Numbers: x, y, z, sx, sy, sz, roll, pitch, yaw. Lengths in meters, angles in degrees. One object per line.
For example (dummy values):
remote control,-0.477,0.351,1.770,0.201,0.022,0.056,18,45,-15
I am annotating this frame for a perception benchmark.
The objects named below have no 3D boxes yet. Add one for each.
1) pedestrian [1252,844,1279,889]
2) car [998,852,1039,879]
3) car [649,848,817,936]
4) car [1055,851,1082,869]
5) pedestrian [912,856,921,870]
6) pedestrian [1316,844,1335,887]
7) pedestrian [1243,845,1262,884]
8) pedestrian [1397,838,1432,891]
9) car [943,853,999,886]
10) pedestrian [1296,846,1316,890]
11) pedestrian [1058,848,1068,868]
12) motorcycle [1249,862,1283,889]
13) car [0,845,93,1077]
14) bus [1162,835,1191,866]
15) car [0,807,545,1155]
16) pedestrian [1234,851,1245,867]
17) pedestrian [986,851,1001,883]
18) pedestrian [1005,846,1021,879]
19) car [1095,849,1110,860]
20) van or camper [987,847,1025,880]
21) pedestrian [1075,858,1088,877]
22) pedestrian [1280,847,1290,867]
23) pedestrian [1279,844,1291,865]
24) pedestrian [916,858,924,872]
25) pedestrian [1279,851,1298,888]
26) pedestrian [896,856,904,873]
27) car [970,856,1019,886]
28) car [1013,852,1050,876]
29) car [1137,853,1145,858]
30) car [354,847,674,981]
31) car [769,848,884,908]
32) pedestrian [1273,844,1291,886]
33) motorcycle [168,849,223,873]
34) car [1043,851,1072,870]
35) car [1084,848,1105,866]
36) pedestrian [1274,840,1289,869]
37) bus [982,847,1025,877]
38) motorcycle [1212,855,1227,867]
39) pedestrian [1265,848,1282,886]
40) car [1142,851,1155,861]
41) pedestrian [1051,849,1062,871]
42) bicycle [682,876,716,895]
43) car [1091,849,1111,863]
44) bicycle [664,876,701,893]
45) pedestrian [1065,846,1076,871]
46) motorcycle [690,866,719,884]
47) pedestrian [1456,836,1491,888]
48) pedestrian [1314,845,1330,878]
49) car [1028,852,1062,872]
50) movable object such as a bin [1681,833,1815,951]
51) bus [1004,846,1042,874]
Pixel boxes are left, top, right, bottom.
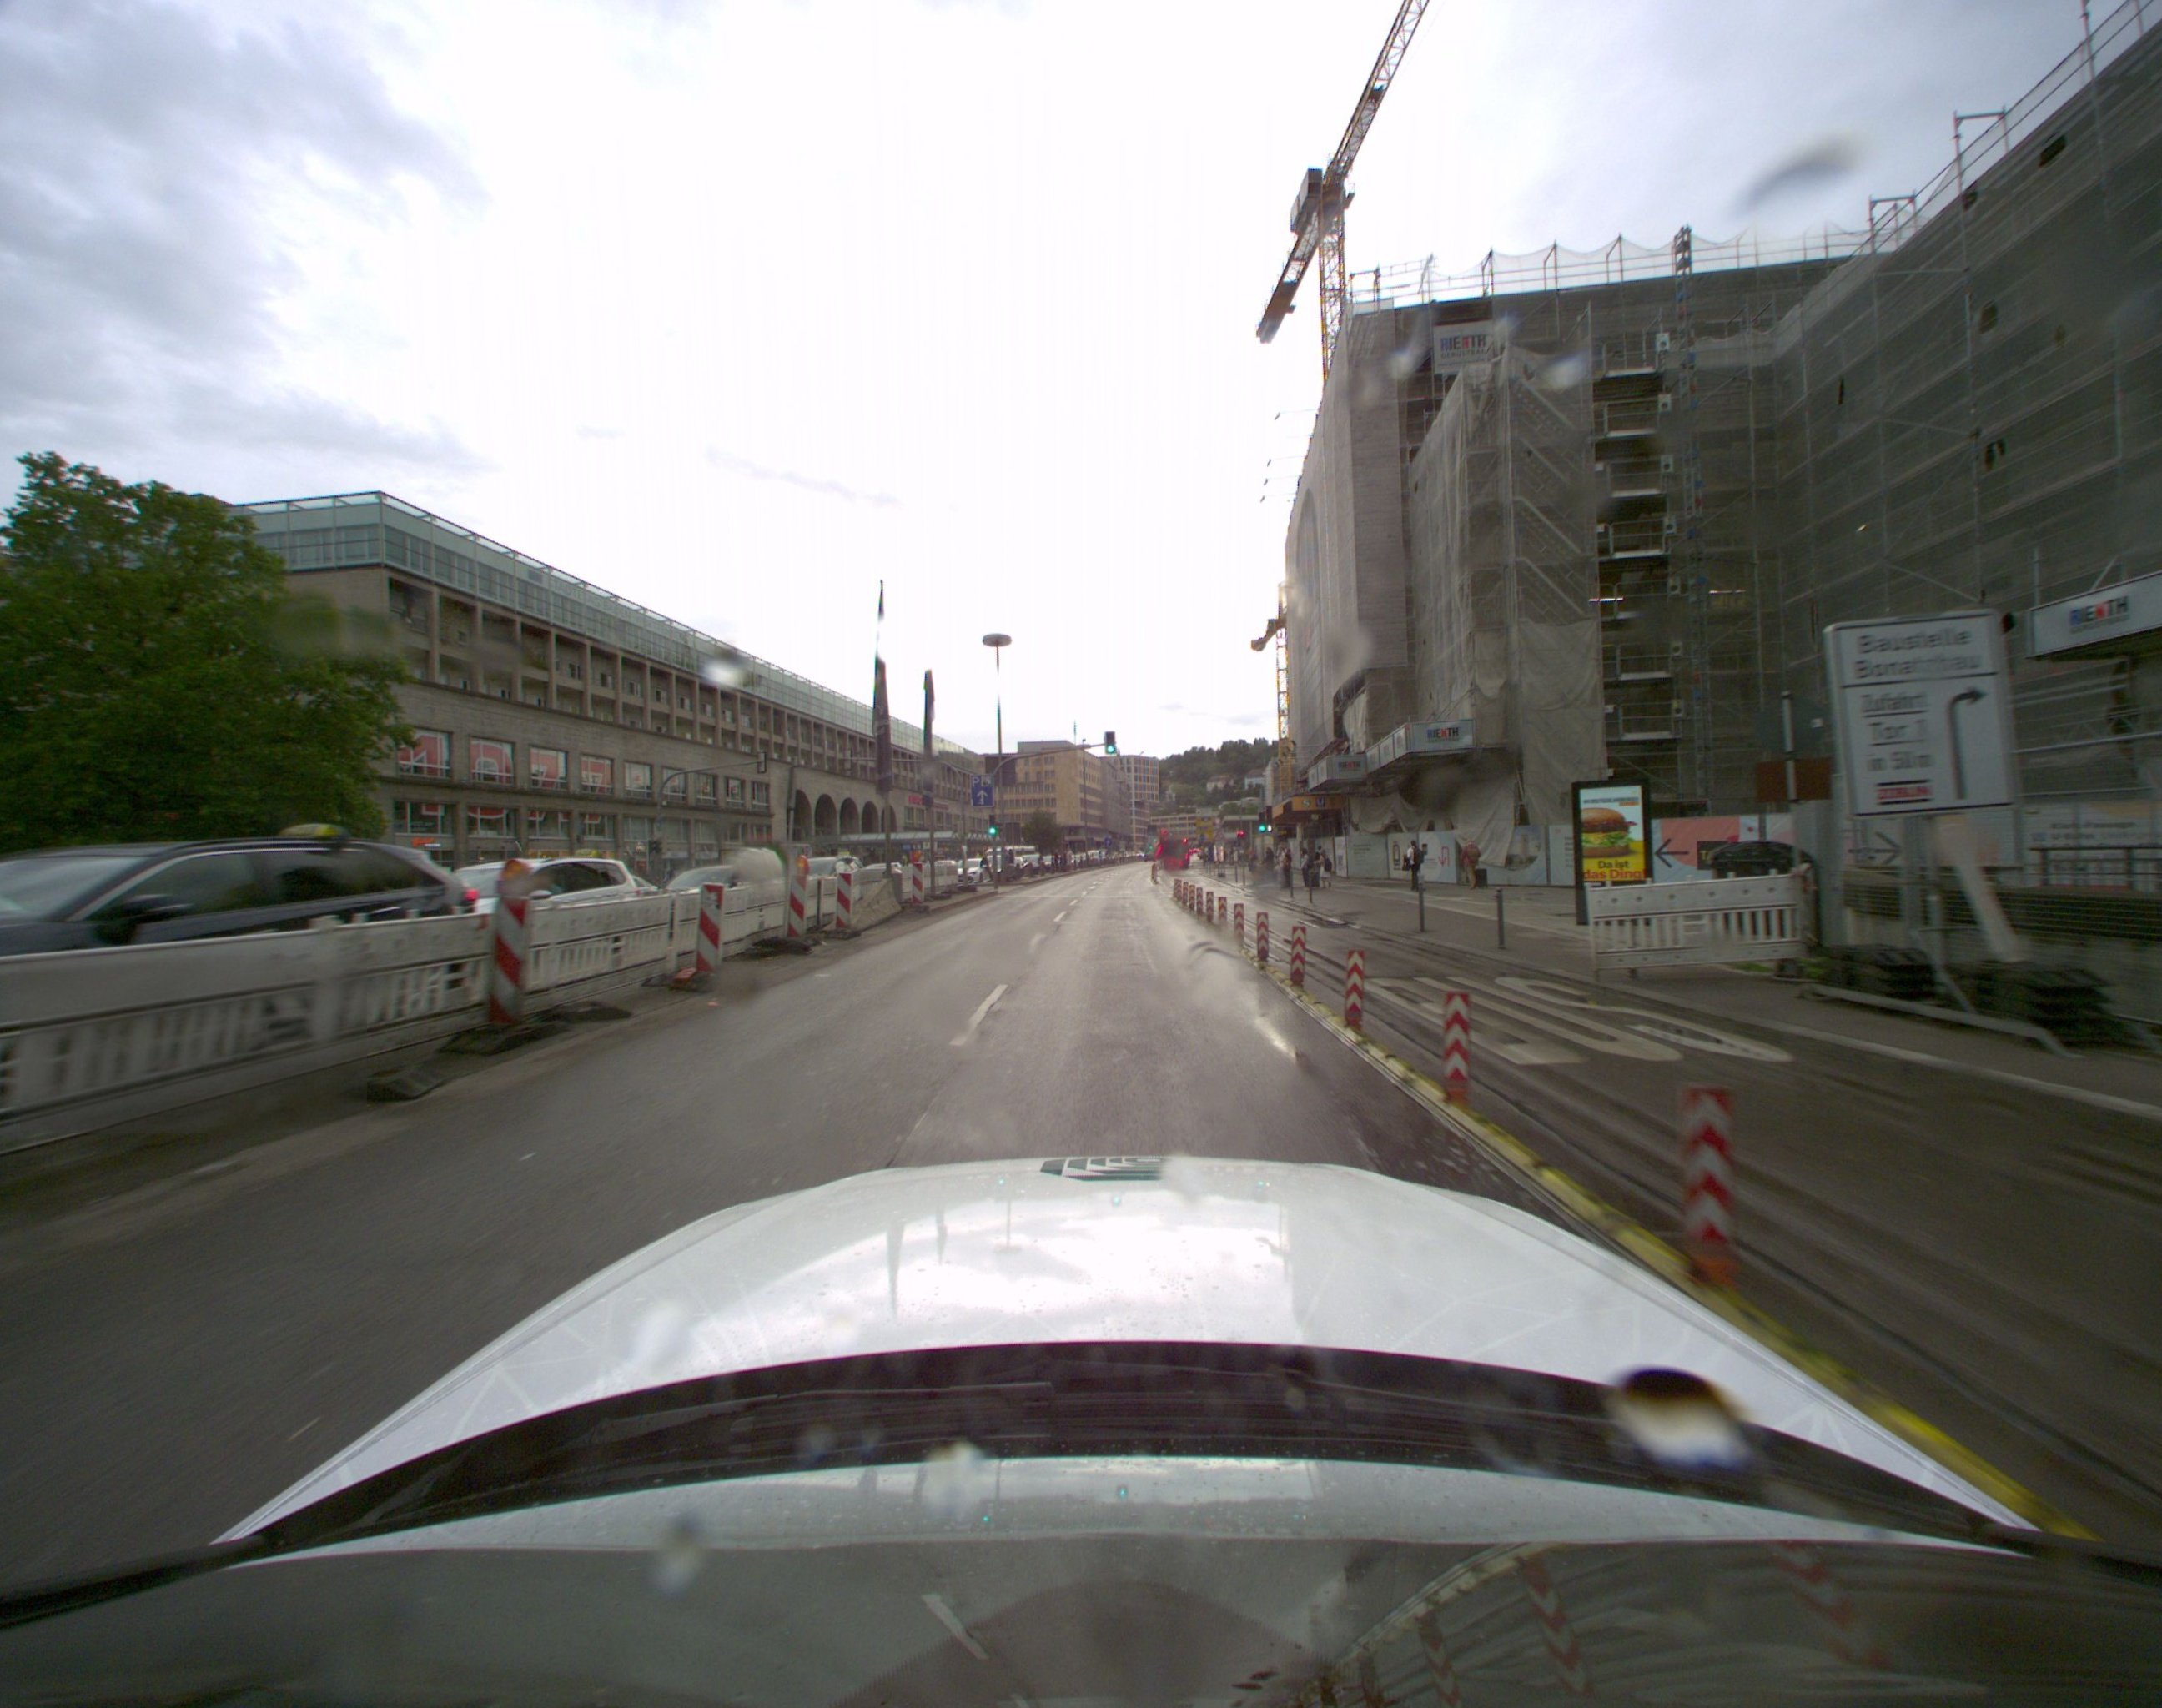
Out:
pedestrian,7.420,0.502,32.724,0.584,1.740,0.813,-2,0,-36
car,-4.308,0.785,57.150,1.919,1.690,4.691,-3,0,7
car,-8.376,0.826,20.151,1.894,1.898,4.529,0,1,5
car,-1.210,0.553,81.395,1.966,1.659,5.202,-3,0,6
pedestrian,-15.995,0.877,79.003,0.708,1.393,0.698,-1,1,-23
pedestrian,9.697,0.464,32.318,0.560,1.650,0.616,-4,0,12
pedestrian,8.069,0.503,38.315,0.557,1.759,0.750,-4,0,-6
pedestrian,11.118,0.339,27.195,0.732,1.677,0.959,-4,0,6
car,-5.941,0.800,44.599,2.005,1.621,4.849,-2,1,5
pedestrian,8.750,0.523,31.679,0.555,1.650,0.616,-4,0,8
pedestrian,-1.501,0.340,67.792,0.719,1.606,0.998,0,1,7
motorcycle,7.439,0.859,32.712,0.589,1.021,1.226,-2,0,-36
car,-9.795,0.877,4.945,1.908,1.851,4.566,4,1,0
bus,10.027,-0.325,85.024,2.740,3.068,9.100,-1,0,8
car,-6.538,0.673,5.720,1.984,1.817,4.818,-2,1,5
pedestrian,16.846,0.532,86.631,0.897,1.635,0.833,-2,0,35
pedestrian,-4.792,0.710,44.625,0.648,1.711,0.594,0,1,5
pedestrian,-3.780,0.478,45.390,0.780,1.775,0.605,-4,0,-5
car,3.267,0.100,122.254,1.984,1.552,4.006,-2,0,5
van or camper,-6.307,0.756,69.178,1.984,2.514,5.379,-5,0,6
pedestrian,0.045,1.249,74.980,1.045,1.768,0.618,-2,0,6
pedestrian,18.826,0.272,75.122,0.641,1.847,0.660,-4,0,7
pedestrian,15.374,0.021,61.353,0.647,1.539,0.667,-4,0,8
pedestrian,-16.188,1.120,81.793,0.708,1.393,0.698,-1,1,-23
pedestrian,8.560,0.628,33.620,0.555,1.449,0.713,-4,0,8
pedestrian,-16.918,0.980,75.987,0.586,1.507,0.621,-1,1,-23
car,-5.311,1.001,50.476,1.919,1.690,4.691,-3,0,7
car,-3.733,0.741,62.346,1.919,1.690,4.691,-3,0,7
car,17.236,0.465,234.721,1.951,1.564,4.846,-1,0,8
car,-8.917,0.811,13.422,1.775,1.722,4.489,-2,1,5
car,-7.916,0.679,25.800,1.894,1.699,4.506,0,1,5
pedestrian,8.628,0.469,34.978,0.555,1.752,0.713,-4,0,8
motorcycle,-40.652,0.322,37.414,0.528,1.047,1.719,-2,0,4
car,-2.123,0.598,75.295,1.920,1.576,5.021,-3,0,6
car,1.766,0.335,104.024,1.982,2.178,5.557,-2,0,8
pedestrian,13.028,0.028,53.029,0.719,1.847,0.812,-4,0,7
bus,-9.290,0.915,99.012,2.861,3.376,10.598,-2,0,8
motorcycle,13.486,0.651,79.020,1.626,1.166,0.579,0,0,-44
pedestrian,8.601,0.582,36.488,0.555,1.641,0.754,-4,0,8
car,11.578,0.284,139.543,1.982,1.552,4.010,-2,0,9
pedestrian,-1.916,0.457,64.157,0.695,1.754,0.713,-2,0,7
bicycle,-28.526,2.342,60.874,2.201,1.325,0.560,-2,0,-3
car,2.681,0.280,109.328,1.982,1.722,4.794,-2,0,9
bicycle,-26.222,2.024,53.608,2.082,1.077,0.596,0,1,-1
pedestrian,-0.823,0.352,64.067,0.719,2.007,0.774,-1,0,7
motorcycle,-22.786,1.259,49.267,1.435,1.057,0.602,-1,1,-4
pedestrian,13.118,0.256,27.219,0.728,1.682,1.113,-2,0,9
pedestrian,12.180,0.369,41.182,0.546,1.632,0.997,-4,0,7
car,-2.993,0.650,68.821,1.919,1.576,5.271,-3,0,7
movable object such as a bin,9.169,0.488,11.295,1.286,1.491,1.544,-2,0,35
bus,-7.753,0.704,109.673,2.861,3.459,10.598,-2,0,8
